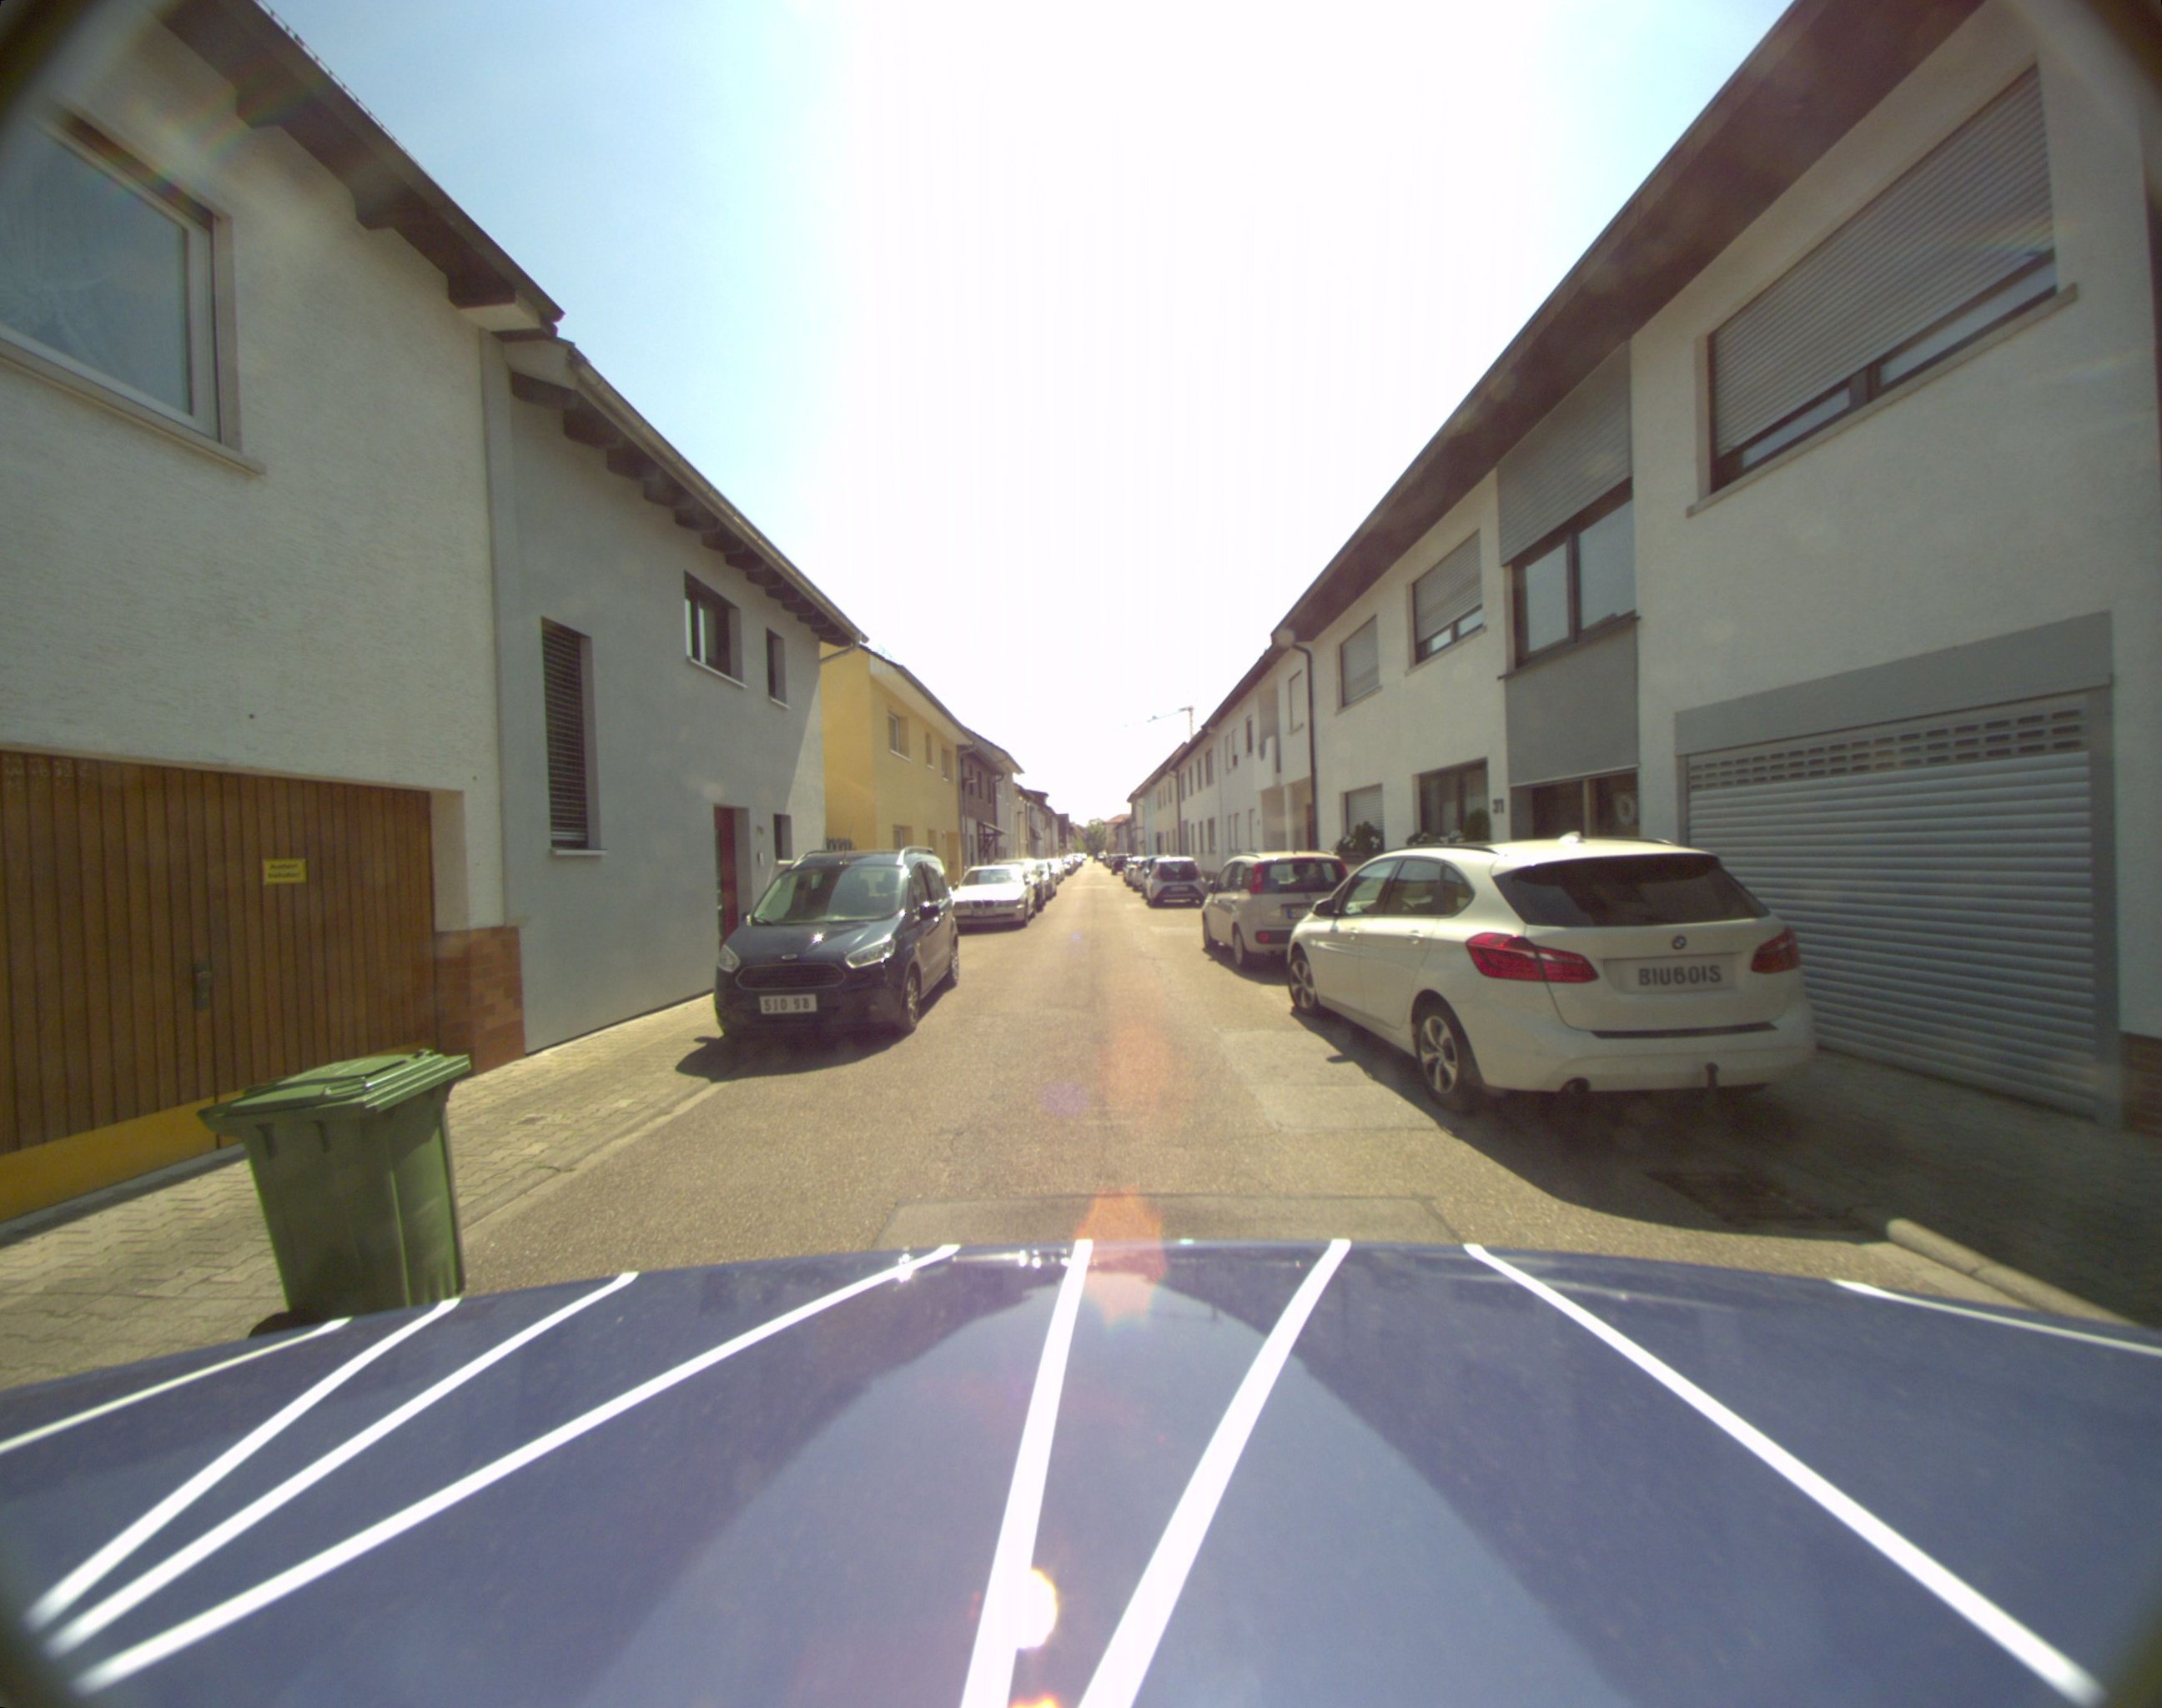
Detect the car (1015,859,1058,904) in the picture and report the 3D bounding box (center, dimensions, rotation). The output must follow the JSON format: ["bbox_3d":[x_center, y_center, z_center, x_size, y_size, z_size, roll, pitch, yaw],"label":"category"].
[{"bbox_3d":[-1.675,1.013,29.491,1.403,1.518,3.398,-3,0,0],"label":"car"}]

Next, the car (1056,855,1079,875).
[{"bbox_3d":[-1.113,0.915,63.965,1.736,1.502,3.623,-3,0,1],"label":"car"}]

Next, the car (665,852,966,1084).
[{"bbox_3d":[-2.426,0.903,8.146,1.701,1.767,4.198,-1,1,0],"label":"car"}]

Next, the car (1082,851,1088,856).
[{"bbox_3d":[0.913,-0.096,188.755,1.414,1.111,3.324,-1,0,1],"label":"car"}]

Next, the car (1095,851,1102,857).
[{"bbox_3d":[3.780,0.002,166.136,1.414,1.389,3.324,-1,0,1],"label":"car"}]

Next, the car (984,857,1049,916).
[{"bbox_3d":[-1.937,0.937,23.834,1.684,1.575,3.961,-2,0,-1],"label":"car"}]

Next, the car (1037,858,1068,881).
[{"bbox_3d":[-1.864,1.034,51.063,1.761,1.351,4.045,-3,0,1],"label":"car"}]

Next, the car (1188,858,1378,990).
[{"bbox_3d":[2.733,0.858,11.121,1.667,1.532,3.687,-2,0,-2],"label":"car"}]

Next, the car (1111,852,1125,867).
[{"bbox_3d":[4.228,0.635,87.347,1.414,1.582,3.542,-1,0,1],"label":"car"}]

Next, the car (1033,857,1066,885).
[{"bbox_3d":[-1.850,0.977,45.542,1.743,1.459,4.045,-3,0,0],"label":"car"}]

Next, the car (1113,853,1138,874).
[{"bbox_3d":[3.519,0.724,60.779,1.818,1.598,3.887,-1,0,0],"label":"car"}]

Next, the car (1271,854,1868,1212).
[{"bbox_3d":[2.817,0.842,5.559,1.667,1.540,3.941,-4,1,-2],"label":"car"}]

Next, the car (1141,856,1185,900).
[{"bbox_3d":[3.025,0.855,28.474,1.414,1.519,3.025,-1,0,2],"label":"car"}]

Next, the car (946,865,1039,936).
[{"bbox_3d":[-2.026,1.041,18.503,1.666,1.406,4.248,-1,0,1],"label":"car"}]

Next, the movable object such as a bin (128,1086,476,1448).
[{"bbox_3d":[-2.605,1.349,2.613,0.551,0.886,0.579,-2,1,-6],"label":"movable object such as a bin"}]

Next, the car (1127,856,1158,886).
[{"bbox_3d":[3.117,0.833,39.139,1.414,1.446,3.543,-1,0,2],"label":"car"}]

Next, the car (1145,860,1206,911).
[{"bbox_3d":[2.878,0.924,23.669,1.606,1.434,3.214,-1,0,2],"label":"car"}]

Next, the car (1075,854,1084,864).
[{"bbox_3d":[-0.232,0.763,117.578,1.414,1.604,3.324,-1,0,1],"label":"car"}]

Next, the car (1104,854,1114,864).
[{"bbox_3d":[4.035,0.766,109.037,1.414,1.389,3.324,-1,0,1],"label":"car"}]

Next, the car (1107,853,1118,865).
[{"bbox_3d":[4.147,0.619,101.176,1.414,1.582,3.324,-1,0,1],"label":"car"}]

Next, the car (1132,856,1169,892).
[{"bbox_3d":[3.040,0.833,33.589,1.414,1.446,3.462,-1,0,2],"label":"car"}]
